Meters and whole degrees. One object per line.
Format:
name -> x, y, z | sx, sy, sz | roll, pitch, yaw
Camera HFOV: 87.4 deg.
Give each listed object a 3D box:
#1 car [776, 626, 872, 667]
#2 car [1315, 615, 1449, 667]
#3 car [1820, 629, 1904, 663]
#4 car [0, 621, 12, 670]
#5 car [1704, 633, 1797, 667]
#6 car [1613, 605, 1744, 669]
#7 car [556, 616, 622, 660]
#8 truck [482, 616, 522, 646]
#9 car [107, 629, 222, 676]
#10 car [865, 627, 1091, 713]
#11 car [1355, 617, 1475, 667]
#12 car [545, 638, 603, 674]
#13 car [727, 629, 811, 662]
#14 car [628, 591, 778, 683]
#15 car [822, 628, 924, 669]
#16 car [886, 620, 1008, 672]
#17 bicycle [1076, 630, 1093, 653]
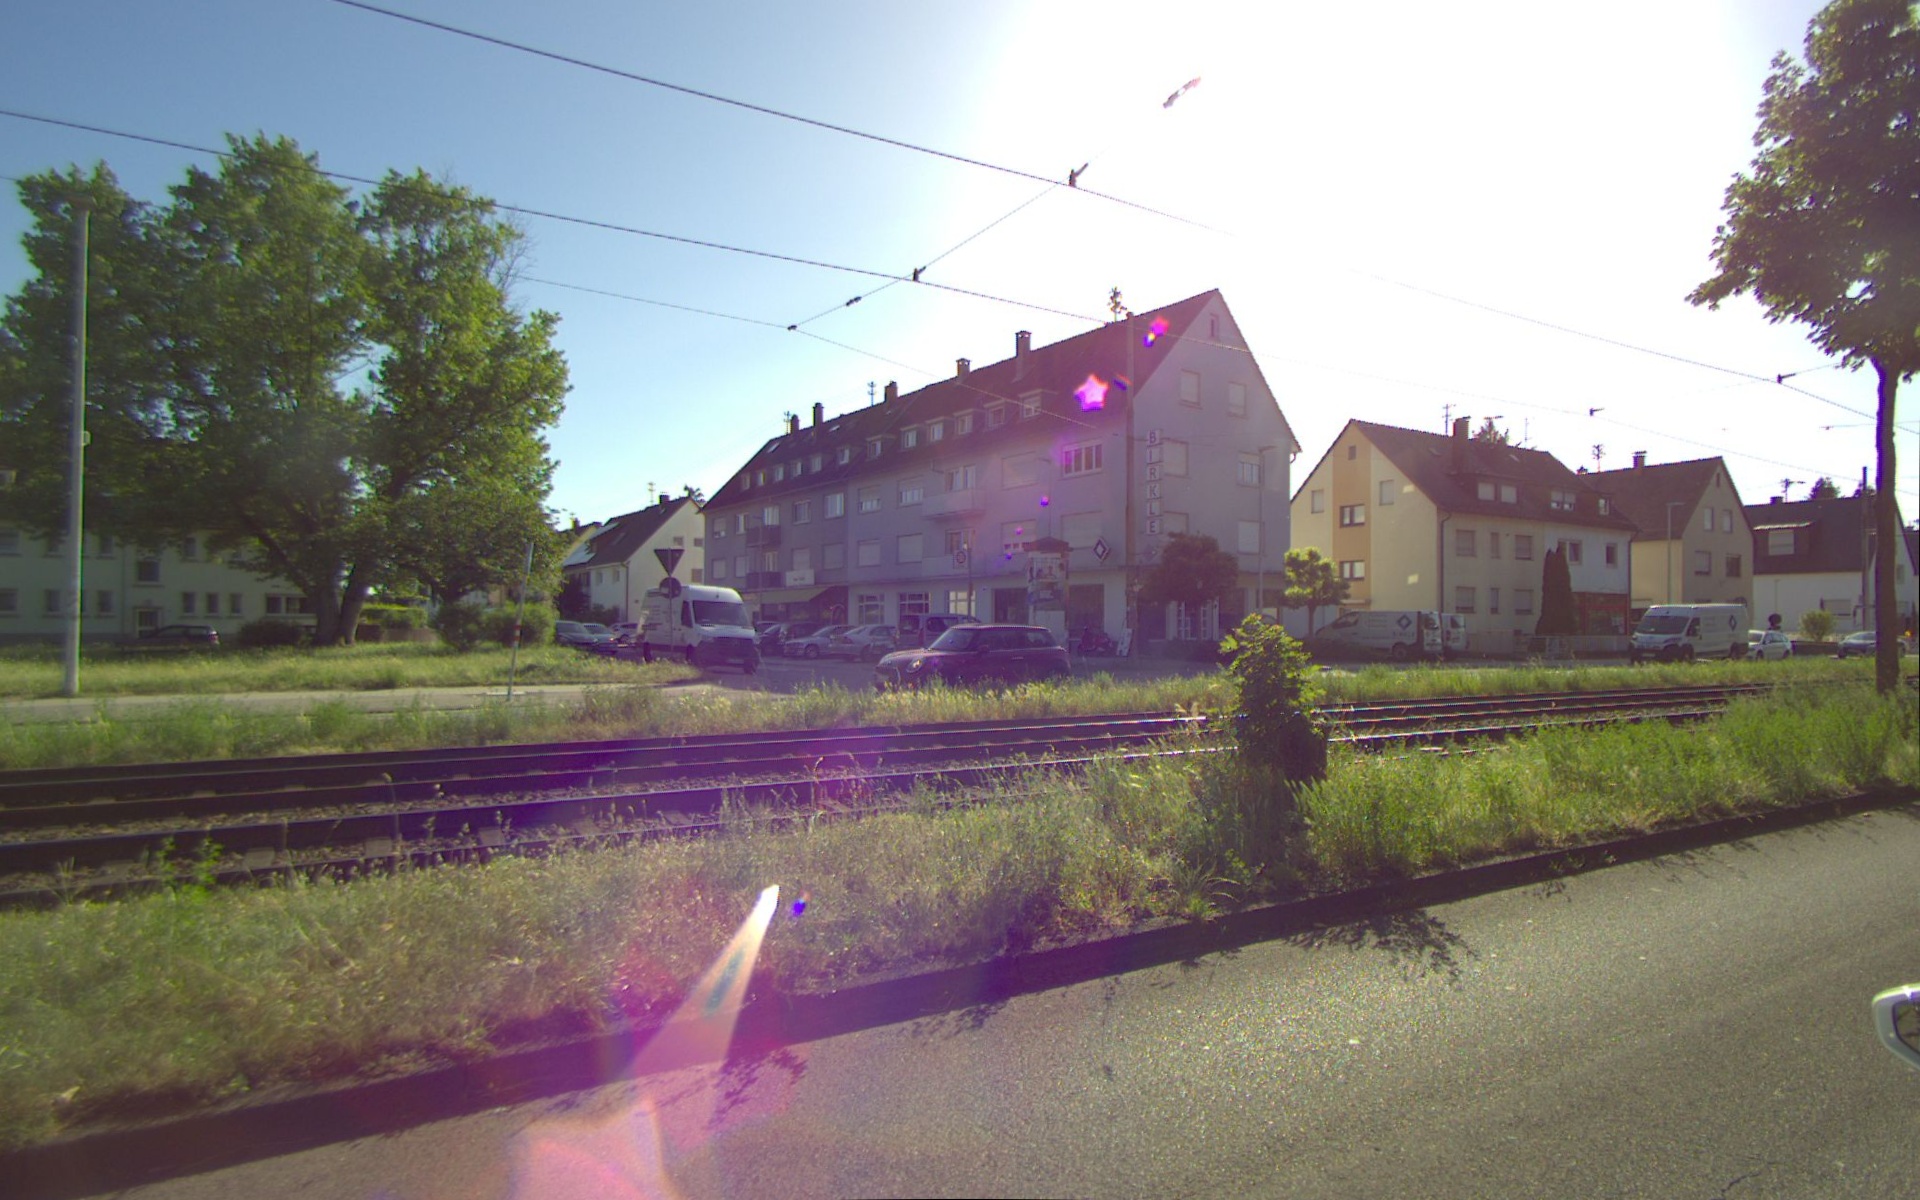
car -> -5.732, 1.942, 42.524 | 3.598, 1.612, 1.782 | 2, -1, -38
car -> 16.761, 1.583, 40.055 | 1.984, 1.971, 4.579 | 1, -1, -40
car -> 47.014, 2.365, 52.350 | 4.444, 1.602, 1.984 | 1, 0, -30
car -> -42.917, 1.894, 42.347 | 3.959, 2.040, 1.981 | 2, -1, -34
car -> 35.640, 2.234, 45.256 | 4.604, 1.431, 1.815 | 2, -1, -31
car -> 30.098, 1.543, 41.993 | 6.598, 2.492, 1.983 | 2, -1, -31
car -> -18.485, 1.861, 49.919 | 1.982, 2.040, 3.957 | 2, -1, -37
truck -> -34.267, 2.271, 75.097 | 1.980, 2.117, 4.088 | 2, -1, -35
car -> -37.158, 2.439, 47.067 | 3.956, 2.040, 1.983 | 2, -1, -32
car -> 0.366, 1.236, 18.706 | 3.953, 1.428, 1.668 | 1, -1, -30
car -> 18.801, 1.695, 41.606 | 1.984, 1.978, 4.103 | 1, -1, -40
car -> -16.747, 2.387, 43.518 | 1.501, 1.374, 3.248 | 2, -1, -37
car -> -8.982, 2.131, 47.293 | 3.596, 1.468, 1.518 | 1, -1, -36
car -> -8.175, 1.040, 31.311 | 2.306, 2.541, 7.022 | 1, -1, -34
car -> -3.391, 1.875, 39.396 | 3.597, 1.511, 1.782 | 1, -2, -37
car -> -0.422, 1.611, 35.541 | 4.065, 1.692, 1.781 | 2, -1, -39
bicycle -> 4.735, 1.577, 38.270 | 0.190, 0.863, 0.750 | 1, -1, -37
